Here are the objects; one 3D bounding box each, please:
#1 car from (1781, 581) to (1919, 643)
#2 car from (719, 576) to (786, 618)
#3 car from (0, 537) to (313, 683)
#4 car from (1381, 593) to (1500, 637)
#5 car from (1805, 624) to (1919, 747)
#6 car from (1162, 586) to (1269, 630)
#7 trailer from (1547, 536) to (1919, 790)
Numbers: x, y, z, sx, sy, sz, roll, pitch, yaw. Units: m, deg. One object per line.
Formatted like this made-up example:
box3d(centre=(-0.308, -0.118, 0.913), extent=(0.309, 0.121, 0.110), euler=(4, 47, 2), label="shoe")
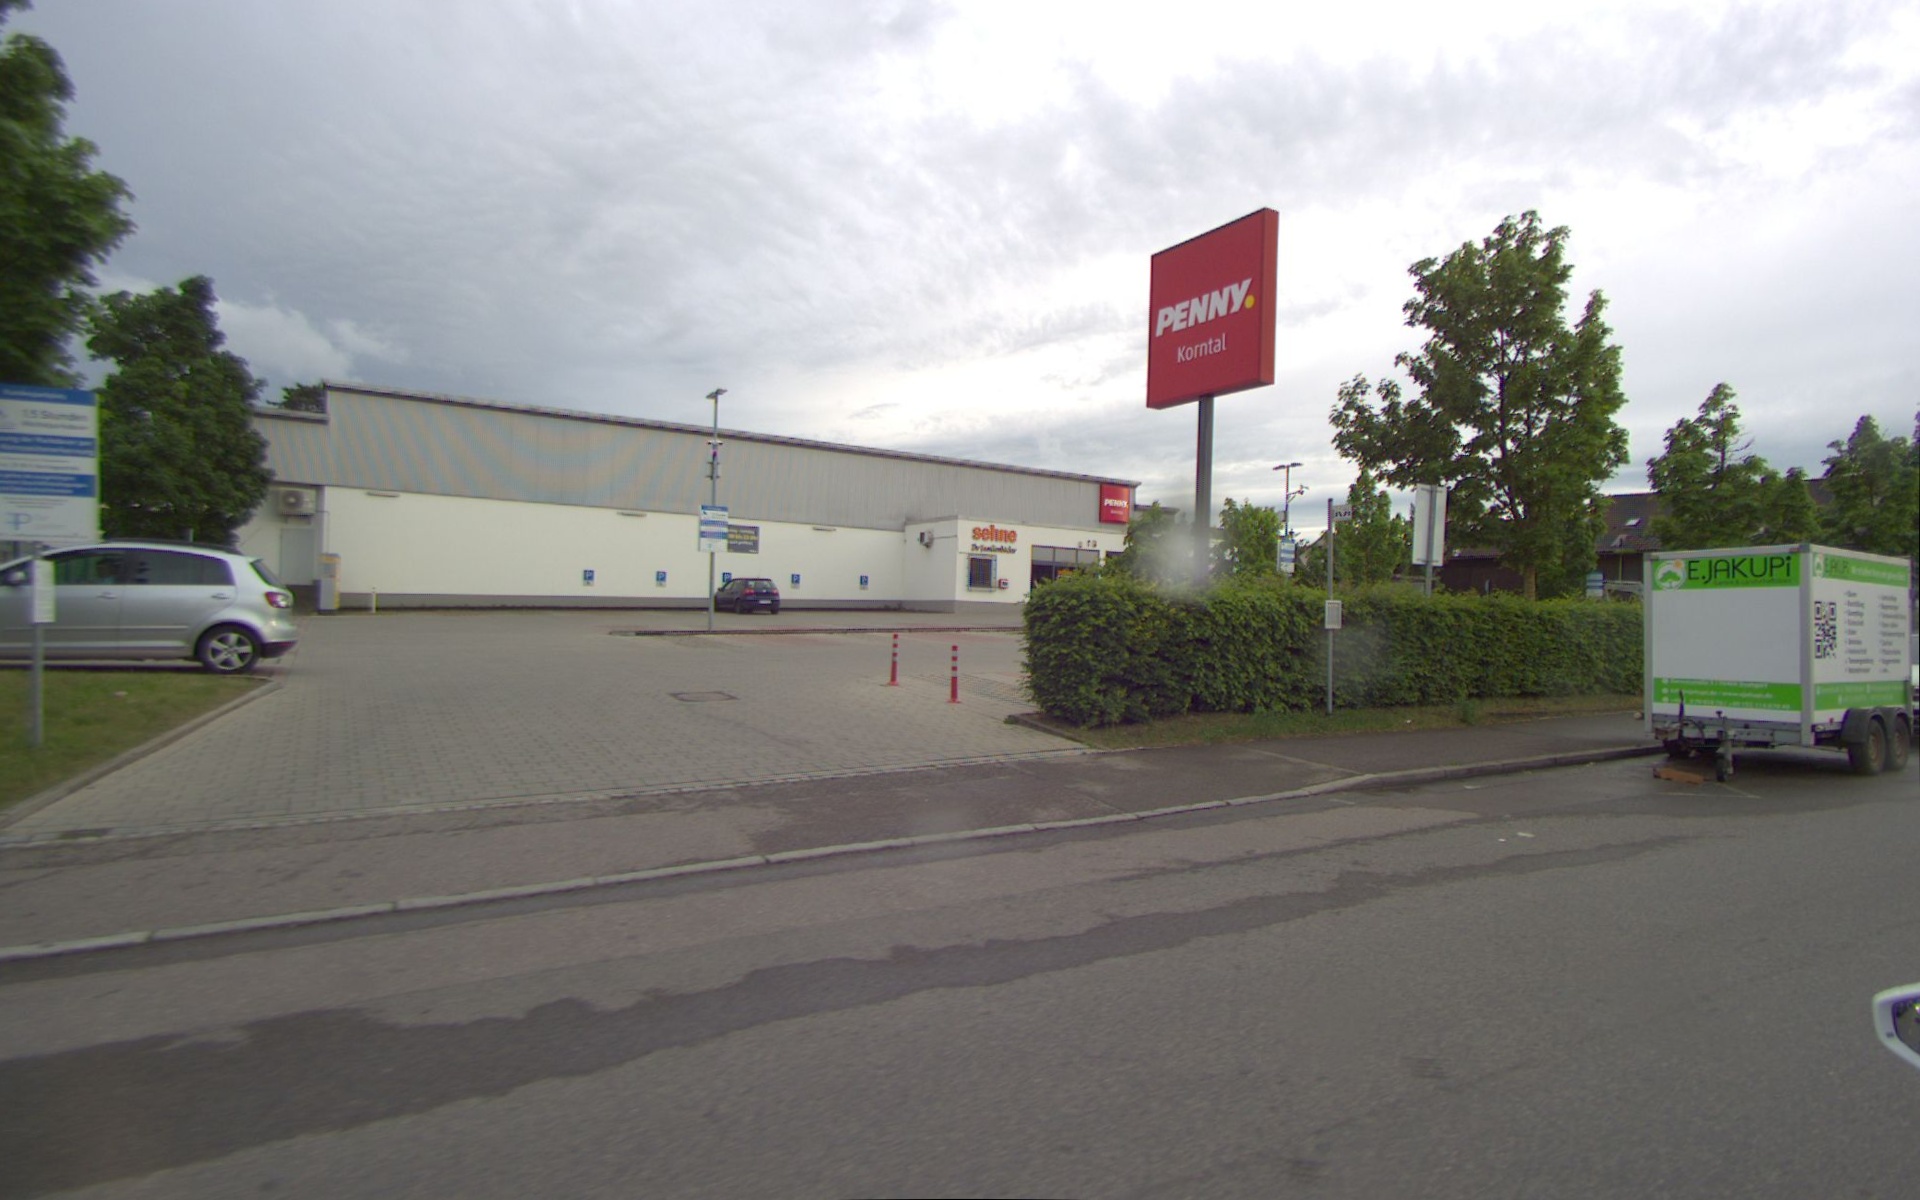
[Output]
box3d(centre=(31.955, 0.412, 35.327), extent=(2.038, 2.040, 4.285), euler=(2, 0, -30), label="car")
box3d(centre=(-8.695, -0.148, 41.936), extent=(1.640, 1.628, 3.708), euler=(2, 0, -29), label="car")
box3d(centre=(-10.397, 0.121, 12.306), extent=(4.010, 1.608, 1.632), euler=(2, 0, -38), label="car")
box3d(centre=(18.729, 0.562, 39.325), extent=(1.678, 1.540, 3.864), euler=(2, 1, -35), label="car")
box3d(centre=(13.800, 1.129, 14.107), extent=(4.090, 1.519, 1.763), euler=(1, 0, -32), label="car")
box3d(centre=(10.367, 0.322, 40.938), extent=(1.756, 1.628, 3.957), euler=(2, 1, -37), label="car")
box3d(centre=(8.800, 0.656, 11.289), extent=(4.677, 2.344, 1.803), euler=(1, -3, -32), label="trailer")
